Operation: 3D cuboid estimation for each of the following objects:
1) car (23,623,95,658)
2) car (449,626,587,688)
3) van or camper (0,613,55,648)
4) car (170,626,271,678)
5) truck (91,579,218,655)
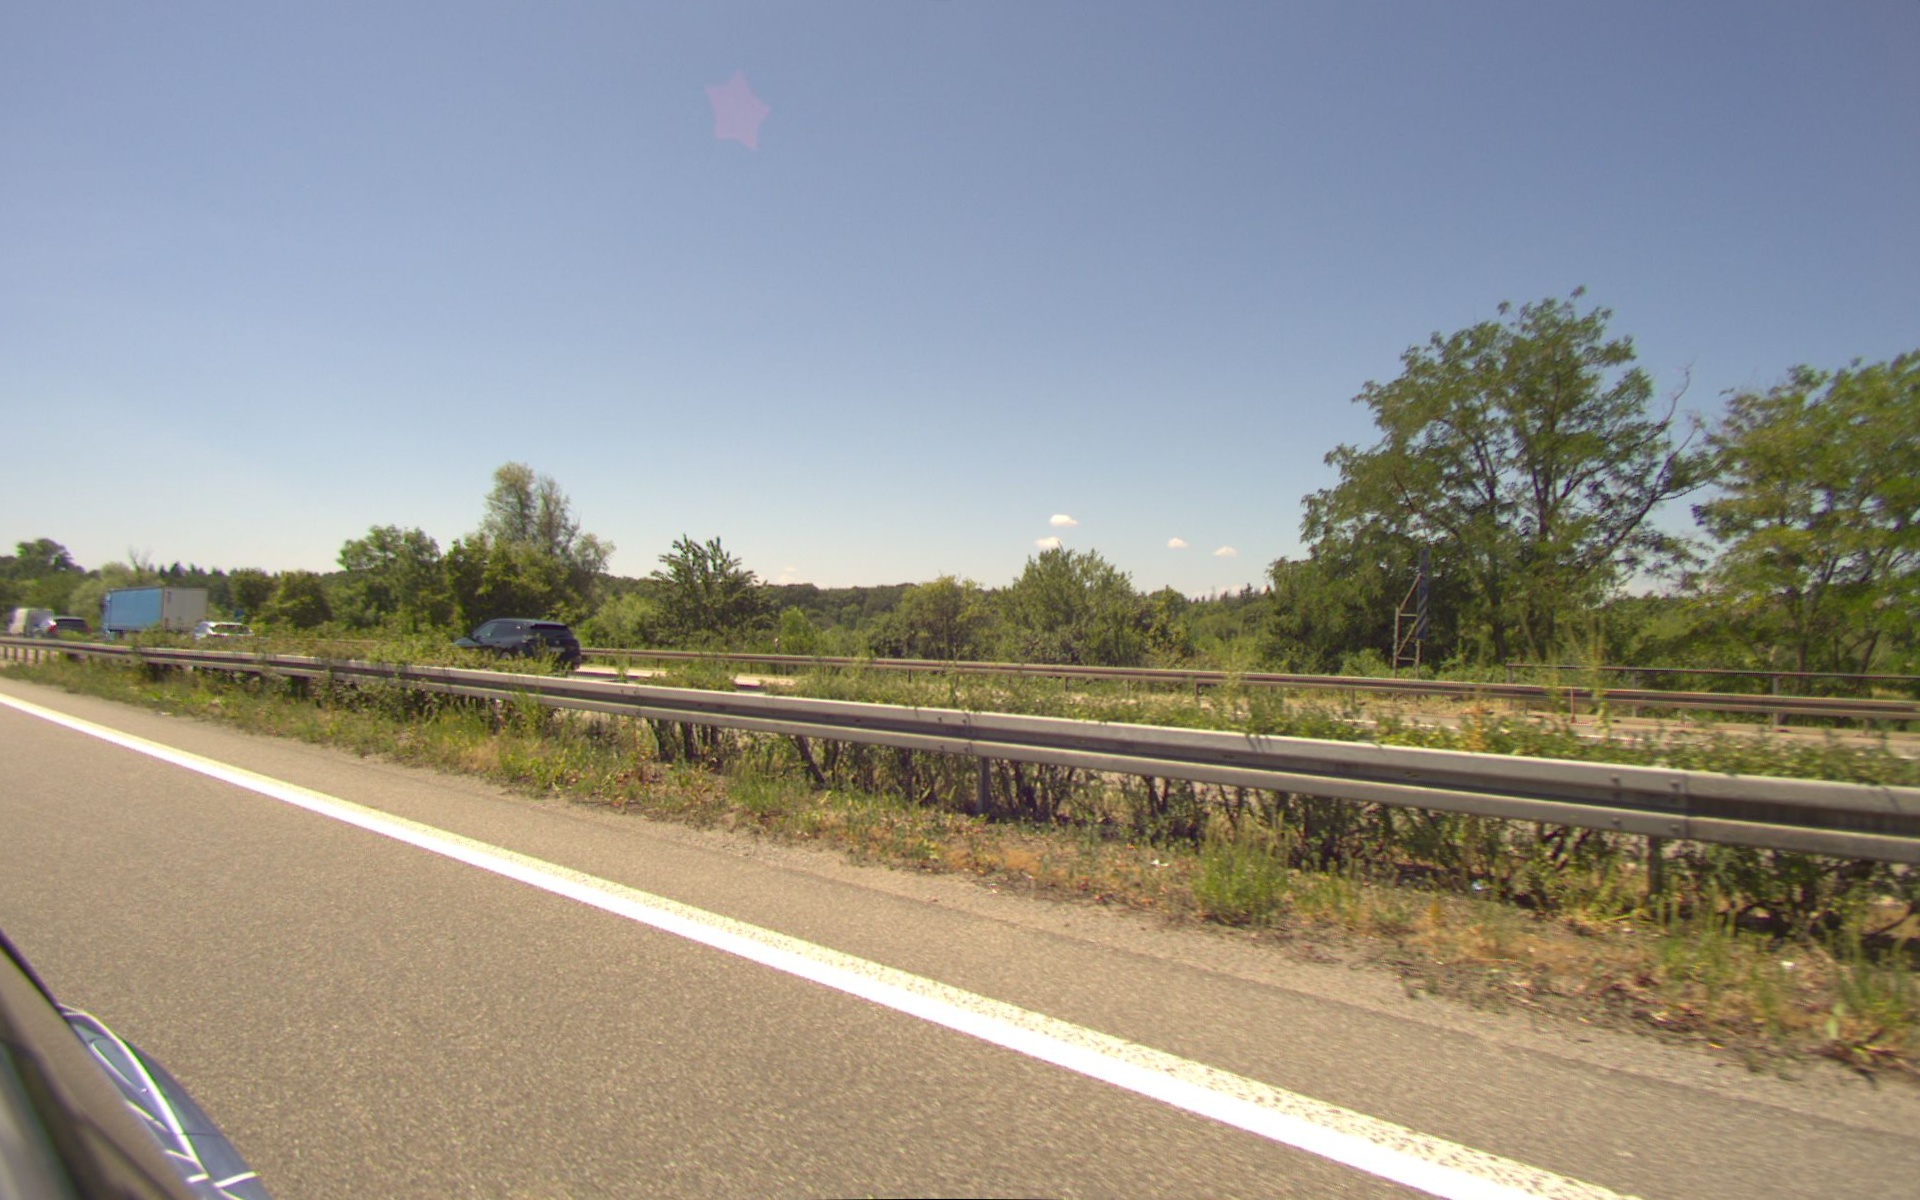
[{"bbox_3d":[-46.074,2.043,51.713,5.103,1.744,1.973,-1,-3,40],"label":"car"},{"bbox_3d":[-12.639,1.566,28.848,3.996,1.630,1.974,-1,-3,39],"label":"car"},{"bbox_3d":[-71.880,2.354,77.948,7.026,2.585,1.974,-1,-5,39],"label":"van or camper"},{"bbox_3d":[-26.702,1.831,36.518,4.089,1.744,1.973,-1,-3,40],"label":"car"},{"bbox_3d":[-56.786,1.253,71.071,16.841,4.756,3.194,-1,-5,39],"label":"truck"}]
